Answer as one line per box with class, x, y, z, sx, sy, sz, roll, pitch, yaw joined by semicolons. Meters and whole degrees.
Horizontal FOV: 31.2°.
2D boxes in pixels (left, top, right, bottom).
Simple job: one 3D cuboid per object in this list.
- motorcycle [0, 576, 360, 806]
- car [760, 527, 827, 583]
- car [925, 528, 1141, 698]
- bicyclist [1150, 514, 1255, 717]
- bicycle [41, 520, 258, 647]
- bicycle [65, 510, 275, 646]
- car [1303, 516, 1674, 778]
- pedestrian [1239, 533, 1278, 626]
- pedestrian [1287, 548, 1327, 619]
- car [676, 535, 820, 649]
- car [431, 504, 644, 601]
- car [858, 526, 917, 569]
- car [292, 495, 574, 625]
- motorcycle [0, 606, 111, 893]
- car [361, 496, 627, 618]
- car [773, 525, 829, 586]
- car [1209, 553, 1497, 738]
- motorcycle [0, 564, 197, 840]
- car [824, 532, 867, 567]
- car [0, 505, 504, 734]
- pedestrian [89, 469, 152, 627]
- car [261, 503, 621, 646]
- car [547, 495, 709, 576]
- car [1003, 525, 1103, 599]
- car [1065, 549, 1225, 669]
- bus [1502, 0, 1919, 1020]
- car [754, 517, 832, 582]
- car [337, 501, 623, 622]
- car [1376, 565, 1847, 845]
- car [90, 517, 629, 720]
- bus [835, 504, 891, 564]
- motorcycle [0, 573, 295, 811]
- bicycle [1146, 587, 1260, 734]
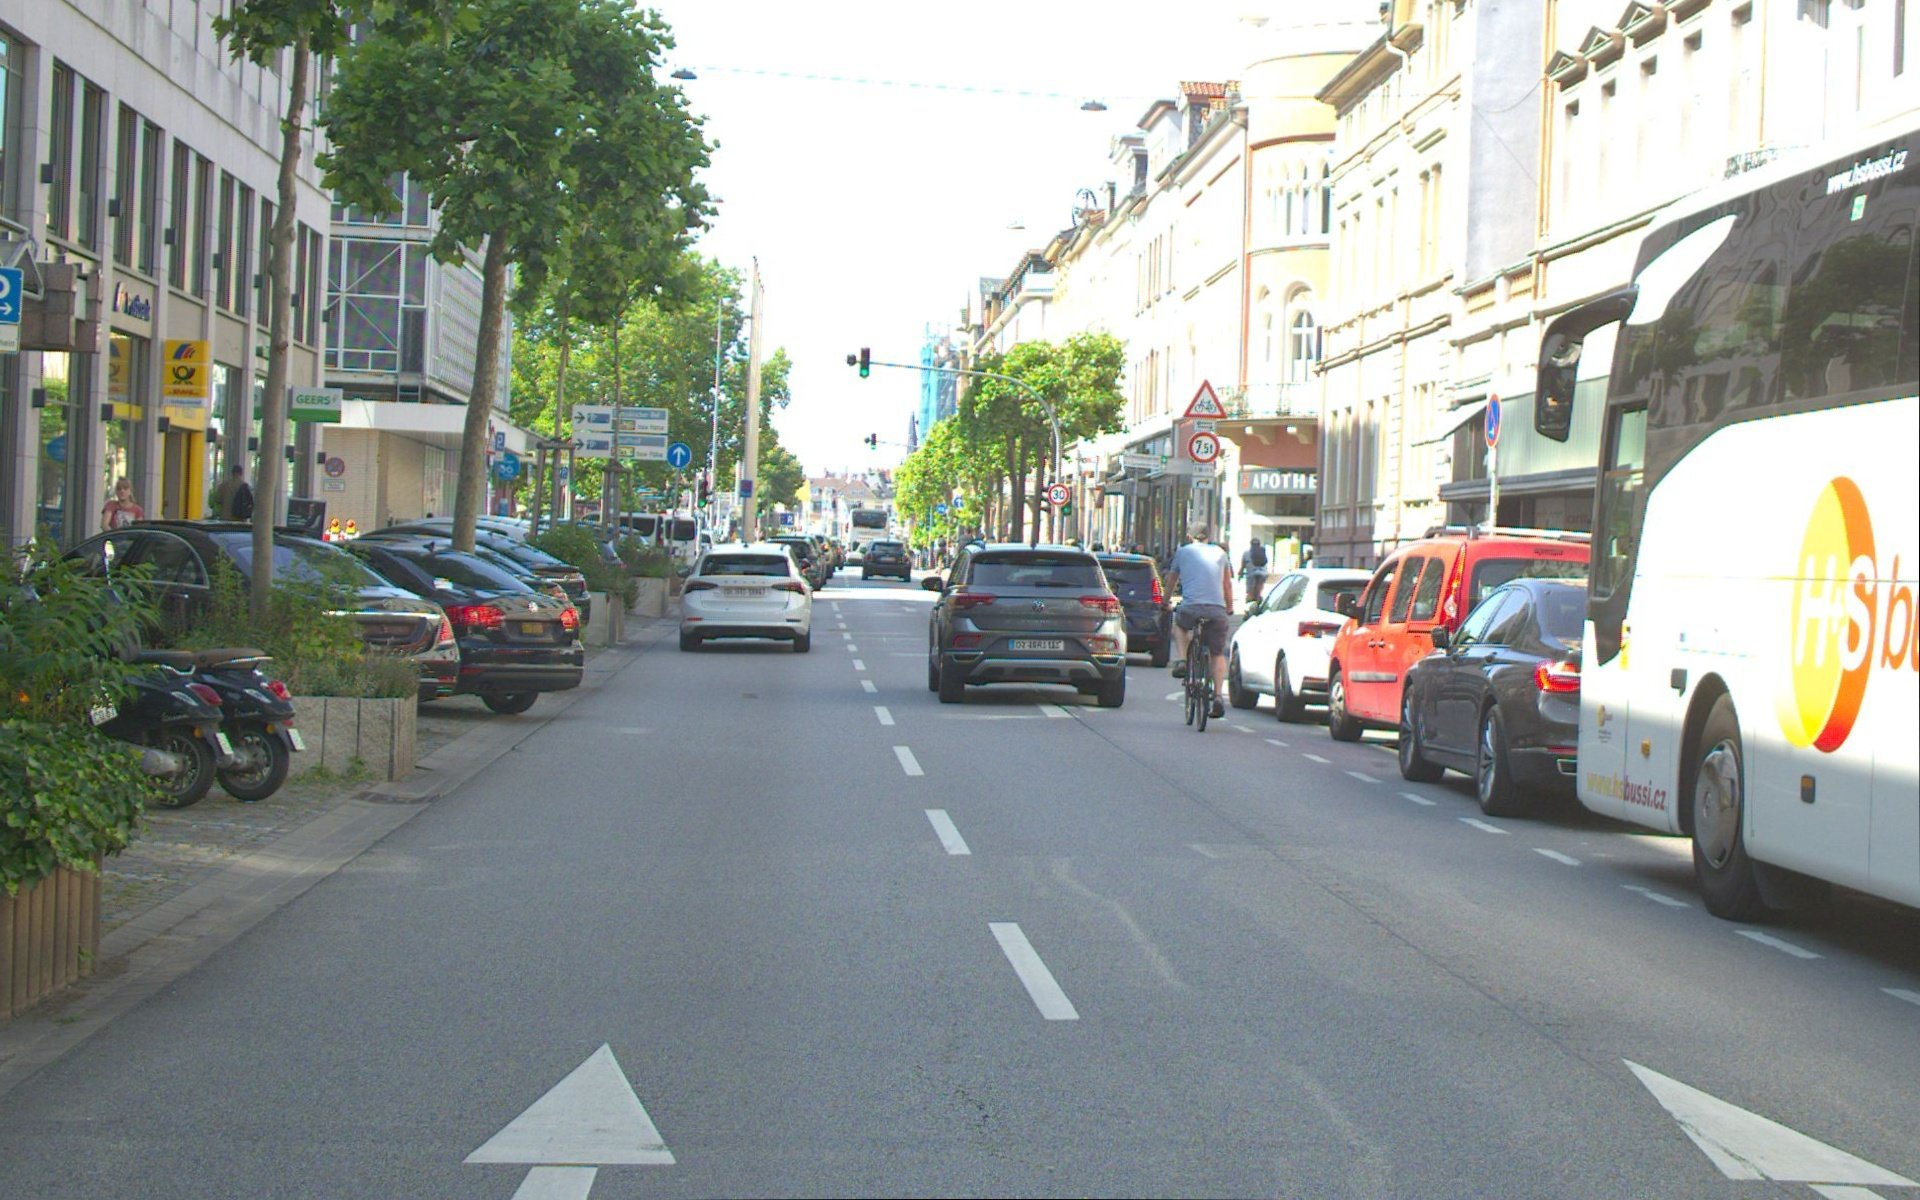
motorcycle;-4.467;0.494;19.533;1.912;1.166;0.759;3;1;18
car;-4.527;-1.230;93.556;1.743;1.436;4.001;2;1;-3
car;0.659;0.092;33.838;1.833;1.522;4.000;2;1;-2
bicyclist;2.091;0.122;29.694;0.694;1.667;0.916;4;2;-1
bicycle;-8.287;-0.167;35.200;2.064;1.126;0.464;5;0;-9
bicycle;-8.408;-0.236;36.638;2.064;1.284;0.368;5;0;-9
car;4.203;0.305;28.085;1.827;1.857;4.355;4;1;-6
pedestrian;5.910;-0.405;68.071;0.652;1.803;0.729;2;1;1
pedestrian;8.555;-0.417;84.793;0.791;1.714;0.730;1;1;-7
car;-2.929;-0.146;47.282;1.863;1.436;4.001;1;1;-4
car;-8.356;-0.949;68.304;3.986;1.495;1.717;6;1;-4
car;-2.556;-1.842;120.273;1.863;1.436;4.001;2;1;-3
car;-7.867;-0.610;51.597;3.986;1.495;1.718;6;1;-6
motorcycle;-4.882;0.582;14.956;2.175;1.166;0.919;3;1;26
car;-7.863;-0.727;57.994;3.992;1.563;1.698;7;1;23
car;-5.685;-1.570;122.447;1.863;2.023;4.000;2;-1;-3
car;3.742;0.386;33.533;1.812;1.461;4.581;4;2;-5
motorcycle;-5.247;0.445;17.354;2.347;1.263;1.293;3;1;18
car;-5.281;-2.324;158.227;1.863;1.436;4.000;1;-1;-3
car;-6.015;0.104;27.330;4.753;1.528;1.986;4;1;40
pedestrian;-8.977;-0.558;36.780;0.565;1.651;0.637;2;1;-9
car;-6.827;-0.342;45.153;4.348;1.508;1.830;5;1;28
car;-10.175;-1.988;105.131;4.720;1.996;1.937;6;0;38
car;1.889;-0.804;70.826;1.822;1.380;4.001;2;2;-1
car;2.492;0.095;47.006;1.822;1.404;3.187;4;2;-2
bus;4.832;-0.326;12.165;2.881;3.729;12.428;4;1;-4
car;-3.970;-1.209;81.607;1.743;1.436;4.001;2;1;-3
car;-7.586;-0.603;54.474;3.990;1.485;1.782;6;1;15
car;4.095;0.586;22.541;1.859;1.465;5.226;4;1;-2
car;-5.348;0.130;30.301;4.793;1.417;1.879;5;2;38
bus;-6.078;-4.128;213.840;2.769;3.592;8.976;2;1;-6
motorcycle;-4.696;0.479;18.819;1.912;1.166;0.728;3;1;18
bicycle;2.078;0.498;29.715;0.664;1.116;2.243;4;2;-2
